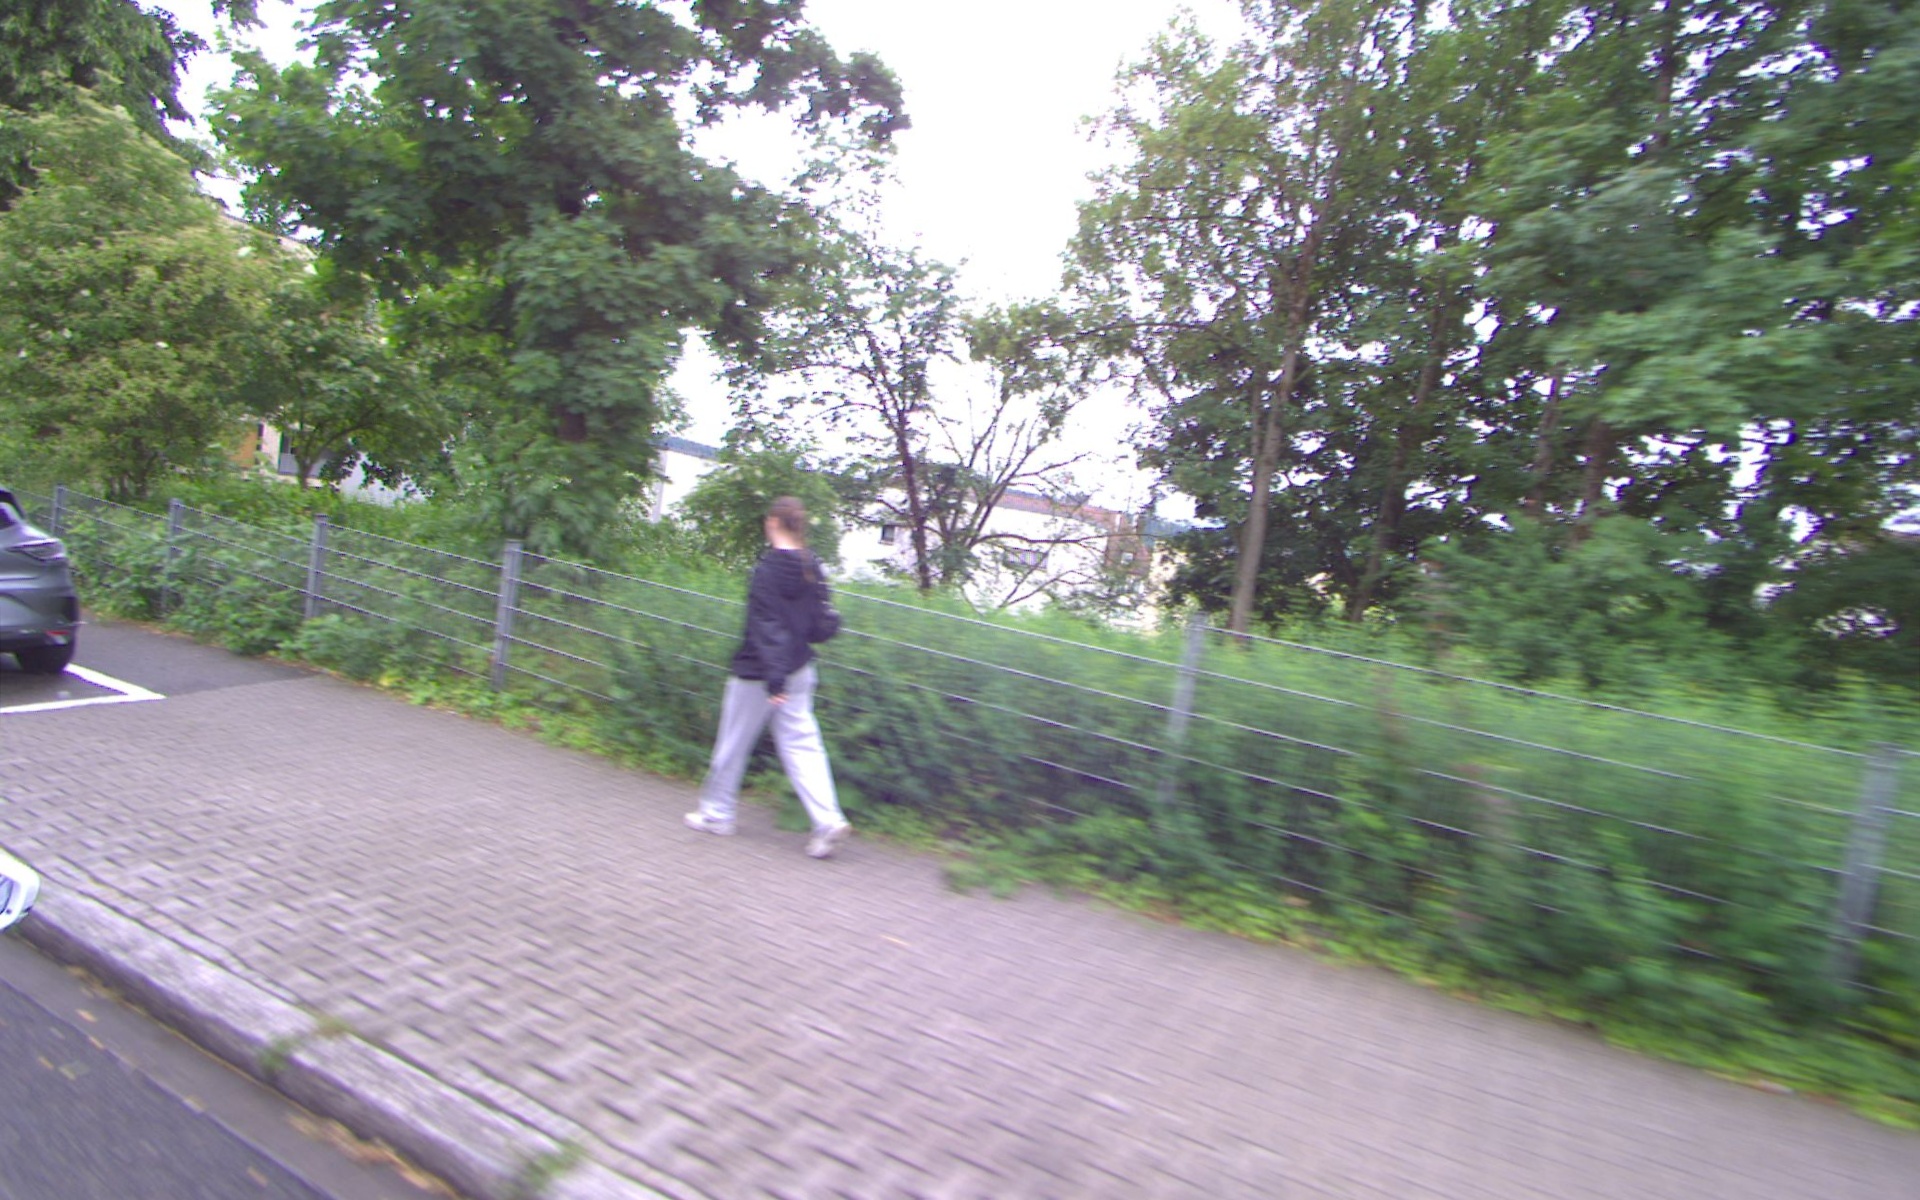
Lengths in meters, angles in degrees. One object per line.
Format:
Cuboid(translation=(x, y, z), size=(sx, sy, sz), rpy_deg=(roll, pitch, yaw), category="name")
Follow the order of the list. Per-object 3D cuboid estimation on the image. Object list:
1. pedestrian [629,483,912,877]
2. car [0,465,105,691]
Cuboid(translation=(-0.899, 0.320, 4.794), size=(0.949, 1.628, 0.765), rpy_deg=(8, 5, 30), category="pedestrian")
Cuboid(translation=(-7.893, -0.311, 7.043), size=(3.747, 1.425, 1.648), rpy_deg=(7, 5, 28), category="car")
